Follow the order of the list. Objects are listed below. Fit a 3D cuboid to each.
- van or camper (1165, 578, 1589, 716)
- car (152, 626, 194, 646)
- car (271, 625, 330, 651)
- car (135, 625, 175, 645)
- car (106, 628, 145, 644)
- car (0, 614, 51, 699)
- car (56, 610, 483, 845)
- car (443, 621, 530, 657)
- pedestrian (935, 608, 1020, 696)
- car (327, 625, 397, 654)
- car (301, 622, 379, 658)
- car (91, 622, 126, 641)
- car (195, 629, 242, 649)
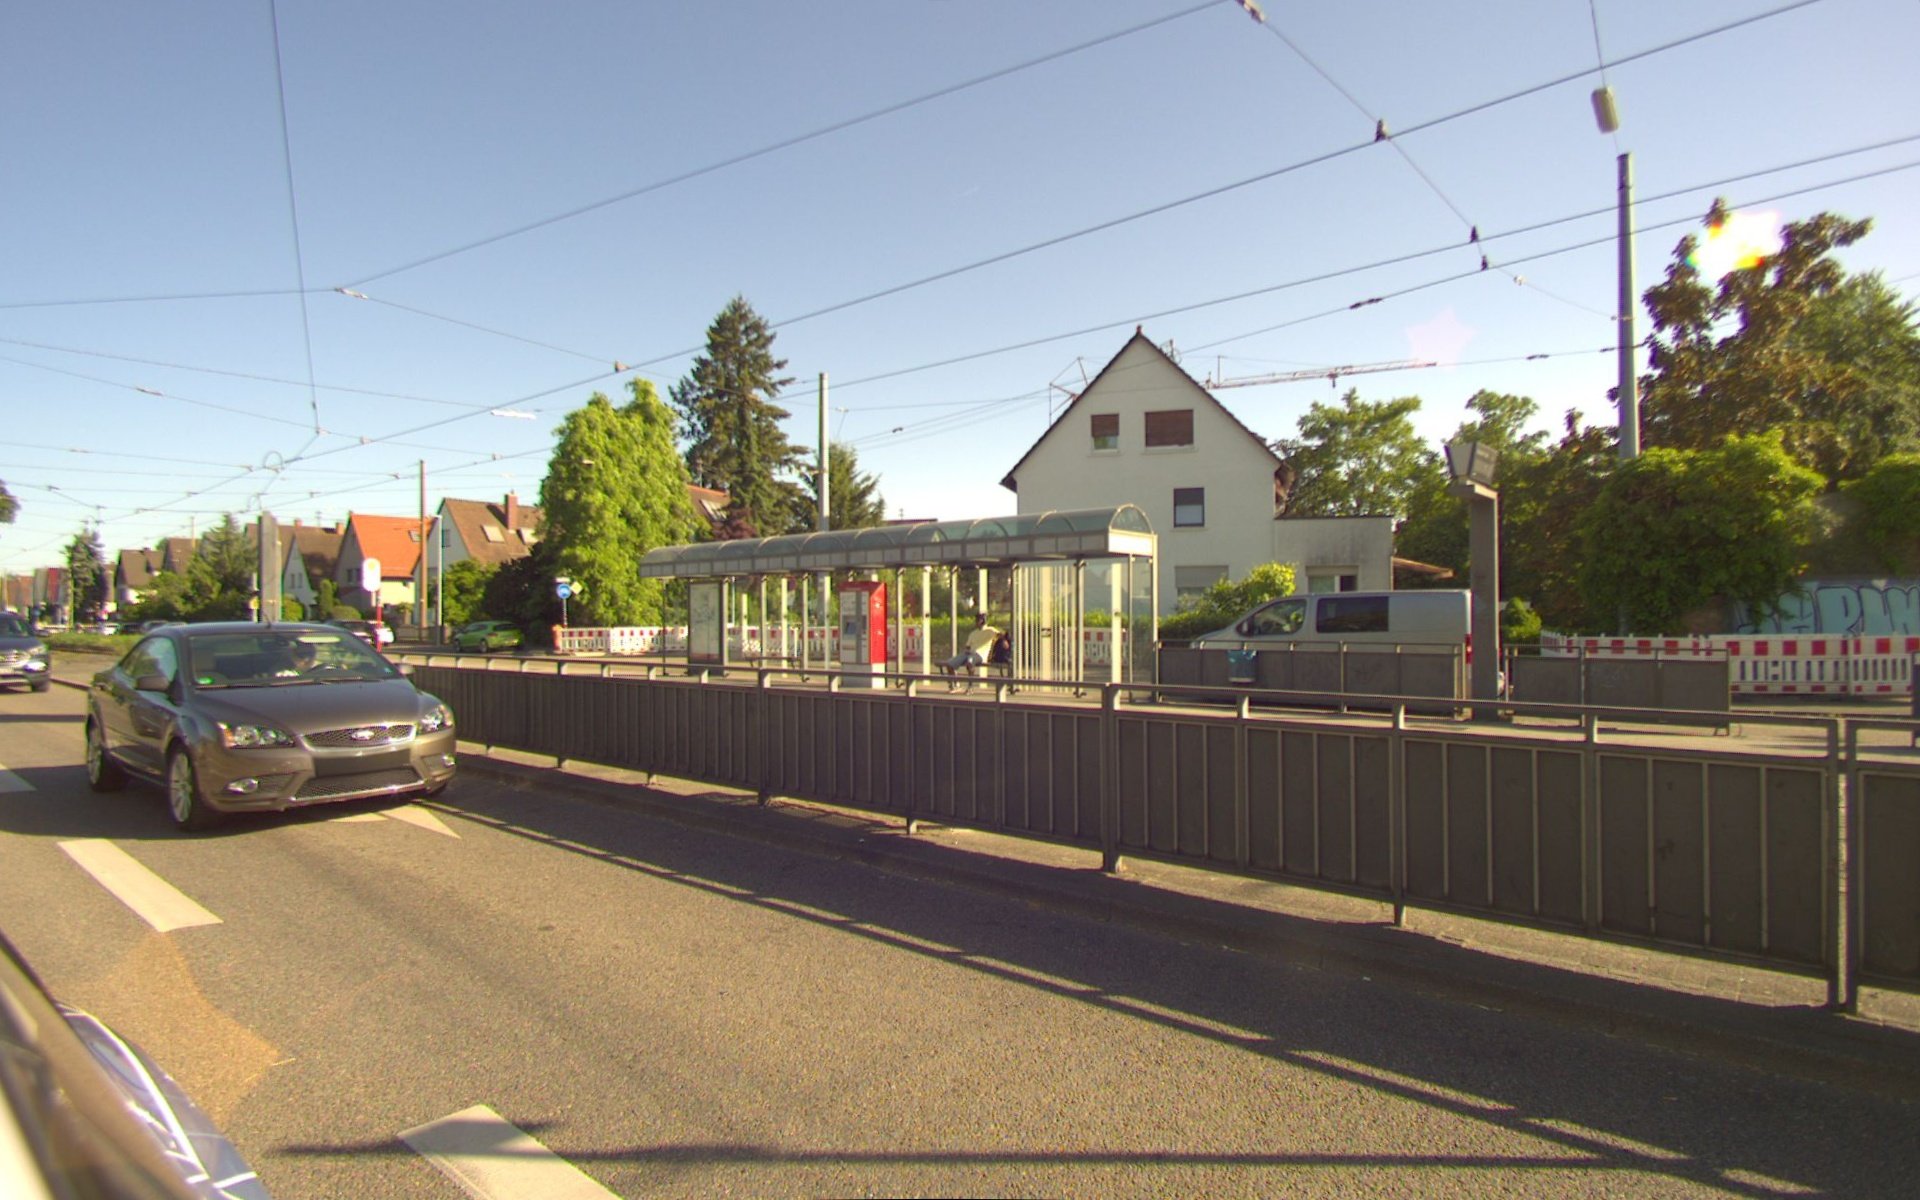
[{"bbox_3d":[6.436,0.707,16.233,5.983,1.842,1.973,-2,-2,40],"label":"van or camper"},{"bbox_3d":[-65.220,2.986,83.875,4.837,1.483,1.864,-2,0,42],"label":"car"},{"bbox_3d":[-40.484,2.320,62.097,4.438,1.477,1.887,-1,0,41],"label":"car"},{"bbox_3d":[-69.218,3.015,86.968,4.534,1.573,1.864,-2,0,41],"label":"car"},{"bbox_3d":[-77.770,3.322,94.279,4.979,1.351,1.973,-1,0,41],"label":"car"},{"bbox_3d":[-20.212,1.136,20.792,4.285,1.642,1.757,-2,-2,41],"label":"car"},{"bbox_3d":[-5.849,0.855,8.371,4.329,1.461,1.758,-2,-2,39],"label":"car"},{"bbox_3d":[-21.690,1.760,46.329,4.063,1.512,1.974,-1,0,38],"label":"car"},{"bbox_3d":[0.312,0.902,17.521,1.006,1.464,1.050,-1,-4,40],"label":"pedestrian"},{"bbox_3d":[-32.995,2.157,55.811,4.610,1.483,1.865,-1,0,40],"label":"car"},{"bbox_3d":[-27.563,1.764,44.923,4.341,1.532,1.717,-2,-2,41],"label":"car"},{"bbox_3d":[-84.638,3.105,100.550,4.582,1.877,1.973,-2,-1,41],"label":"car"},{"bbox_3d":[-54.659,2.876,74.555,4.308,1.382,1.972,-2,-1,42],"label":"car"}]
